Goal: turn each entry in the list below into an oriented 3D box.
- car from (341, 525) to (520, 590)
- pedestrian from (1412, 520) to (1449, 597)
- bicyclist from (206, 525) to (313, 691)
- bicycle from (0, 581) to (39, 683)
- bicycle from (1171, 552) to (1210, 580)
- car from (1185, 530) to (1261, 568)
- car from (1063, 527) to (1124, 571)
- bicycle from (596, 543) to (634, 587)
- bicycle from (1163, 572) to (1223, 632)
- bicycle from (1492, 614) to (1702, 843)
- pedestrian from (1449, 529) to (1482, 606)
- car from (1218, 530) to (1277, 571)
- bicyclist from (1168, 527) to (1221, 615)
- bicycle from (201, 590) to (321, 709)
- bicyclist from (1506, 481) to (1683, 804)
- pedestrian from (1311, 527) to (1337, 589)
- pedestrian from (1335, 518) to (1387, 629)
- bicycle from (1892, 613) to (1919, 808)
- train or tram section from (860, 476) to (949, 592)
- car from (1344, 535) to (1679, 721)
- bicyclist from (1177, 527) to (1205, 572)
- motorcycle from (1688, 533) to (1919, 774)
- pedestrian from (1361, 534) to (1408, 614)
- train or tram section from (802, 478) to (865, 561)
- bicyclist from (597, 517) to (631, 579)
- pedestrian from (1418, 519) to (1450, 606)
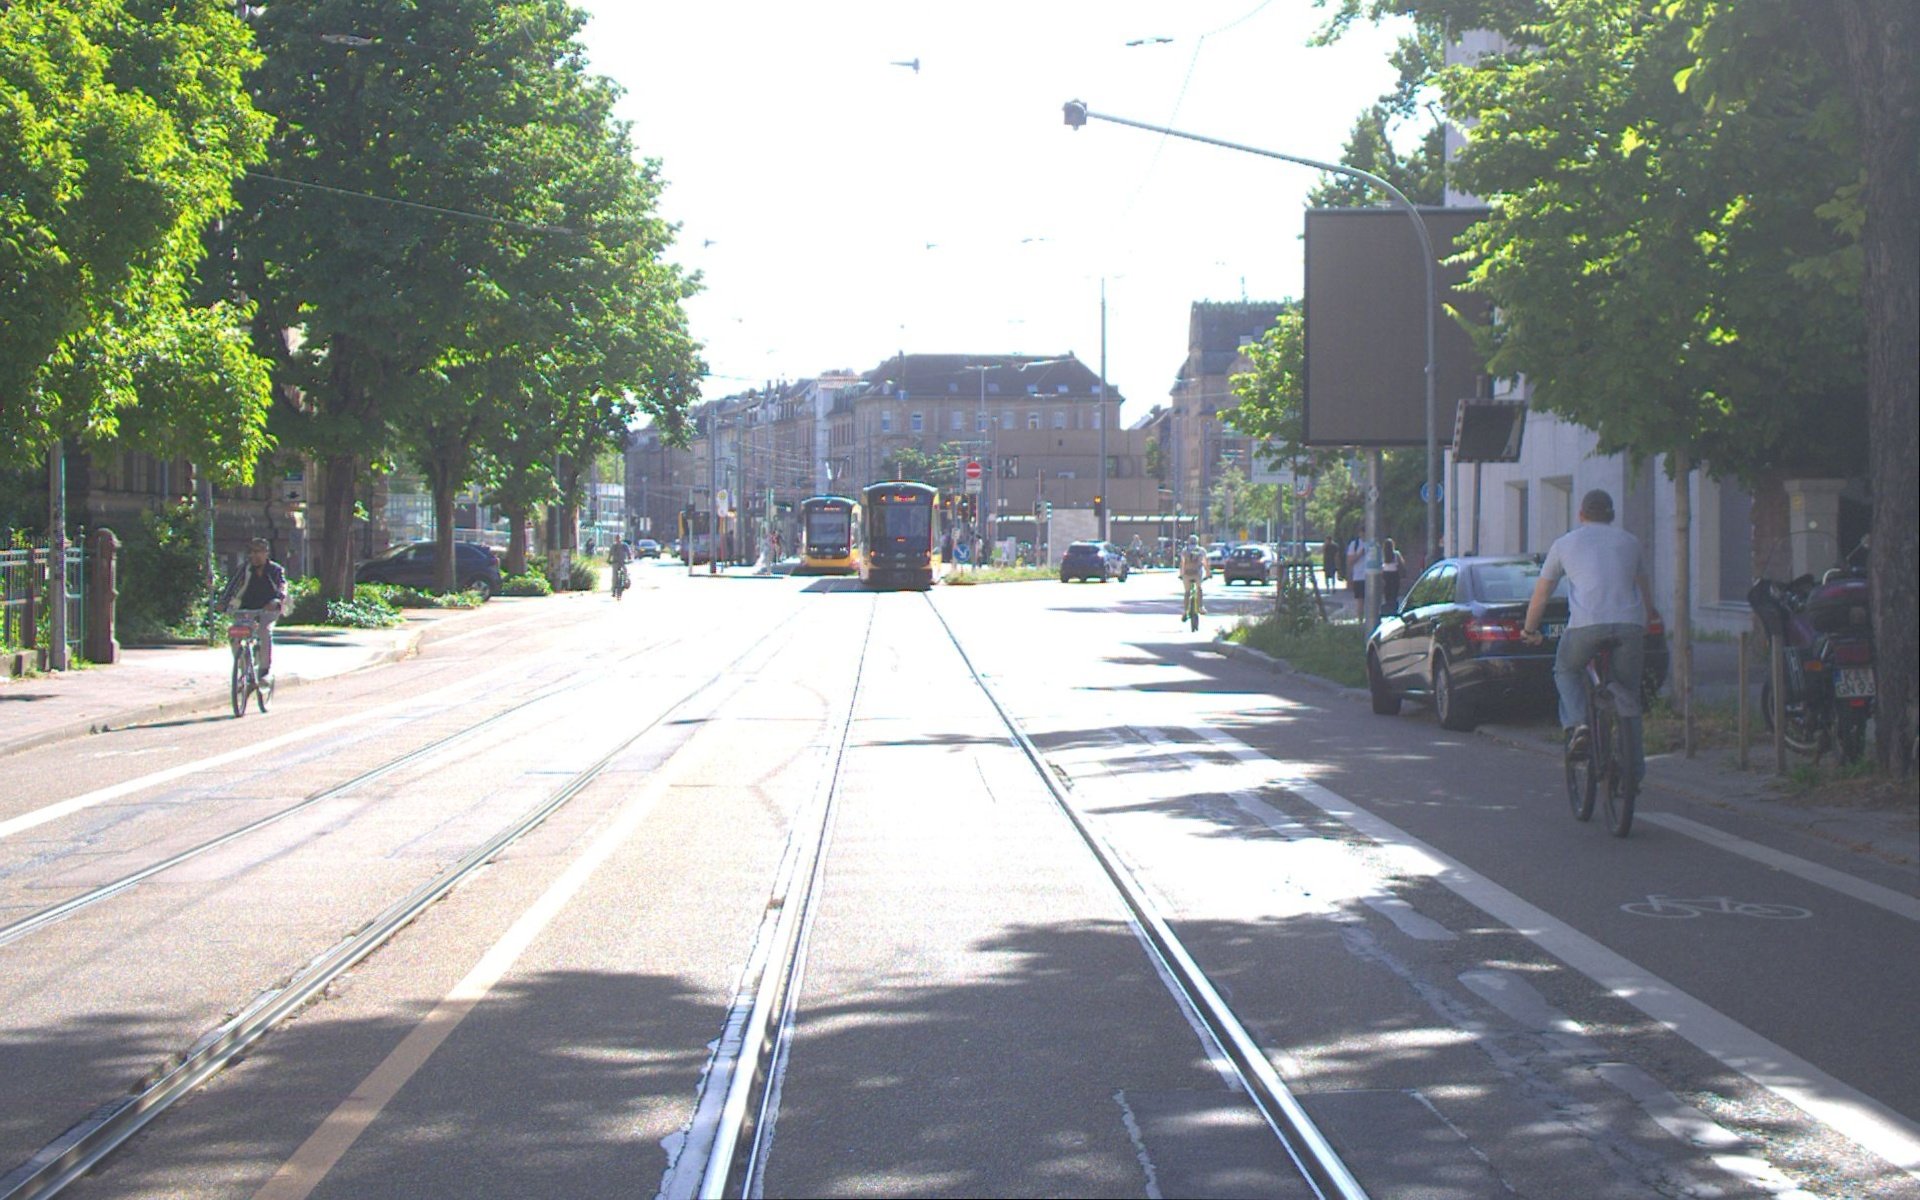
[{"bbox_3d":[-13.172,-1.059,85.595,3.986,1.544,1.878,1,1,-28],"label":"car"},{"bbox_3d":[11.187,-0.986,81.665,0.648,1.757,0.955,-4,1,14],"label":"pedestrian"},{"bbox_3d":[-6.952,0.068,34.164,0.745,1.594,1.118,-3,1,0],"label":"bicyclist"},{"bbox_3d":[-10.337,0.340,36.355,0.590,1.042,1.905,2,1,2],"label":"bicycle"},{"bbox_3d":[8.974,-1.327,133.822,0.706,1.051,2.311,3,2,24],"label":"bicycle"},{"bbox_3d":[11.746,-2.279,153.342,1.705,1.638,3.705,2,2,34],"label":"car"},{"bbox_3d":[5.103,-1.958,130.954,1.790,1.599,3.711,2,2,10],"label":"car"},{"bbox_3d":[-9.229,-0.939,91.926,0.687,1.120,1.931,-2,1,3],"label":"bicycle"},{"bbox_3d":[4.508,0.034,66.393,0.705,1.101,1.715,2,2,19],"label":"bicycle"},{"bbox_3d":[3.404,0.658,18.539,0.738,1.090,2.111,2,1,1],"label":"bicycle"},{"bbox_3d":[9.309,-0.601,63.373,0.518,1.399,0.764,0,1,2],"label":"pedestrian"},{"bbox_3d":[11.068,-1.902,132.262,1.790,1.506,3.711,2,2,12],"label":"car"},{"bbox_3d":[4.527,-0.570,66.375,0.705,1.669,1.100,2,2,19],"label":"bicyclist"},{"bbox_3d":[-6.931,0.475,34.171,0.745,1.078,1.899,-3,1,0],"label":"bicycle"},{"bbox_3d":[3.415,0.213,18.561,0.738,1.680,0.972,2,1,1],"label":"bicyclist"},{"bbox_3d":[11.372,-1.329,107.514,0.637,1.897,1.134,-2,1,0],"label":"pedestrian"},{"bbox_3d":[6.728,-0.453,57.715,0.683,1.843,0.955,-1,1,-2],"label":"pedestrian"},{"bbox_3d":[5.977,0.581,18.666,1.619,1.039,0.685,-2,1,0],"label":"bicycle"},{"bbox_3d":[-1.941,-2.264,114.916,2.742,3.639,13.787,0,2,-2],"label":"train or tram section"},{"bbox_3d":[4.772,0.179,30.458,1.821,1.453,4.819,-2,1,-4],"label":"car"},{"bbox_3d":[8.992,-1.977,133.781,0.706,1.694,0.986,3,2,24],"label":"bicyclist"},{"bbox_3d":[5.596,0.309,22.854,0.913,1.483,2.679,-2,1,0],"label":"motorcycle"},{"bbox_3d":[8.793,-0.541,71.281,0.857,1.635,0.993,0,-1,2],"label":"pedestrian"},{"bbox_3d":[-5.771,-3.719,157.591,2.742,3.639,13.787,0,2,-2],"label":"train or tram section"},{"bbox_3d":[-9.244,-1.394,91.899,0.687,1.639,1.237,-2,1,3],"label":"bicyclist"},{"bbox_3d":[8.755,-0.694,63.529,0.518,1.595,0.764,0,1,2],"label":"pedestrian"}]
